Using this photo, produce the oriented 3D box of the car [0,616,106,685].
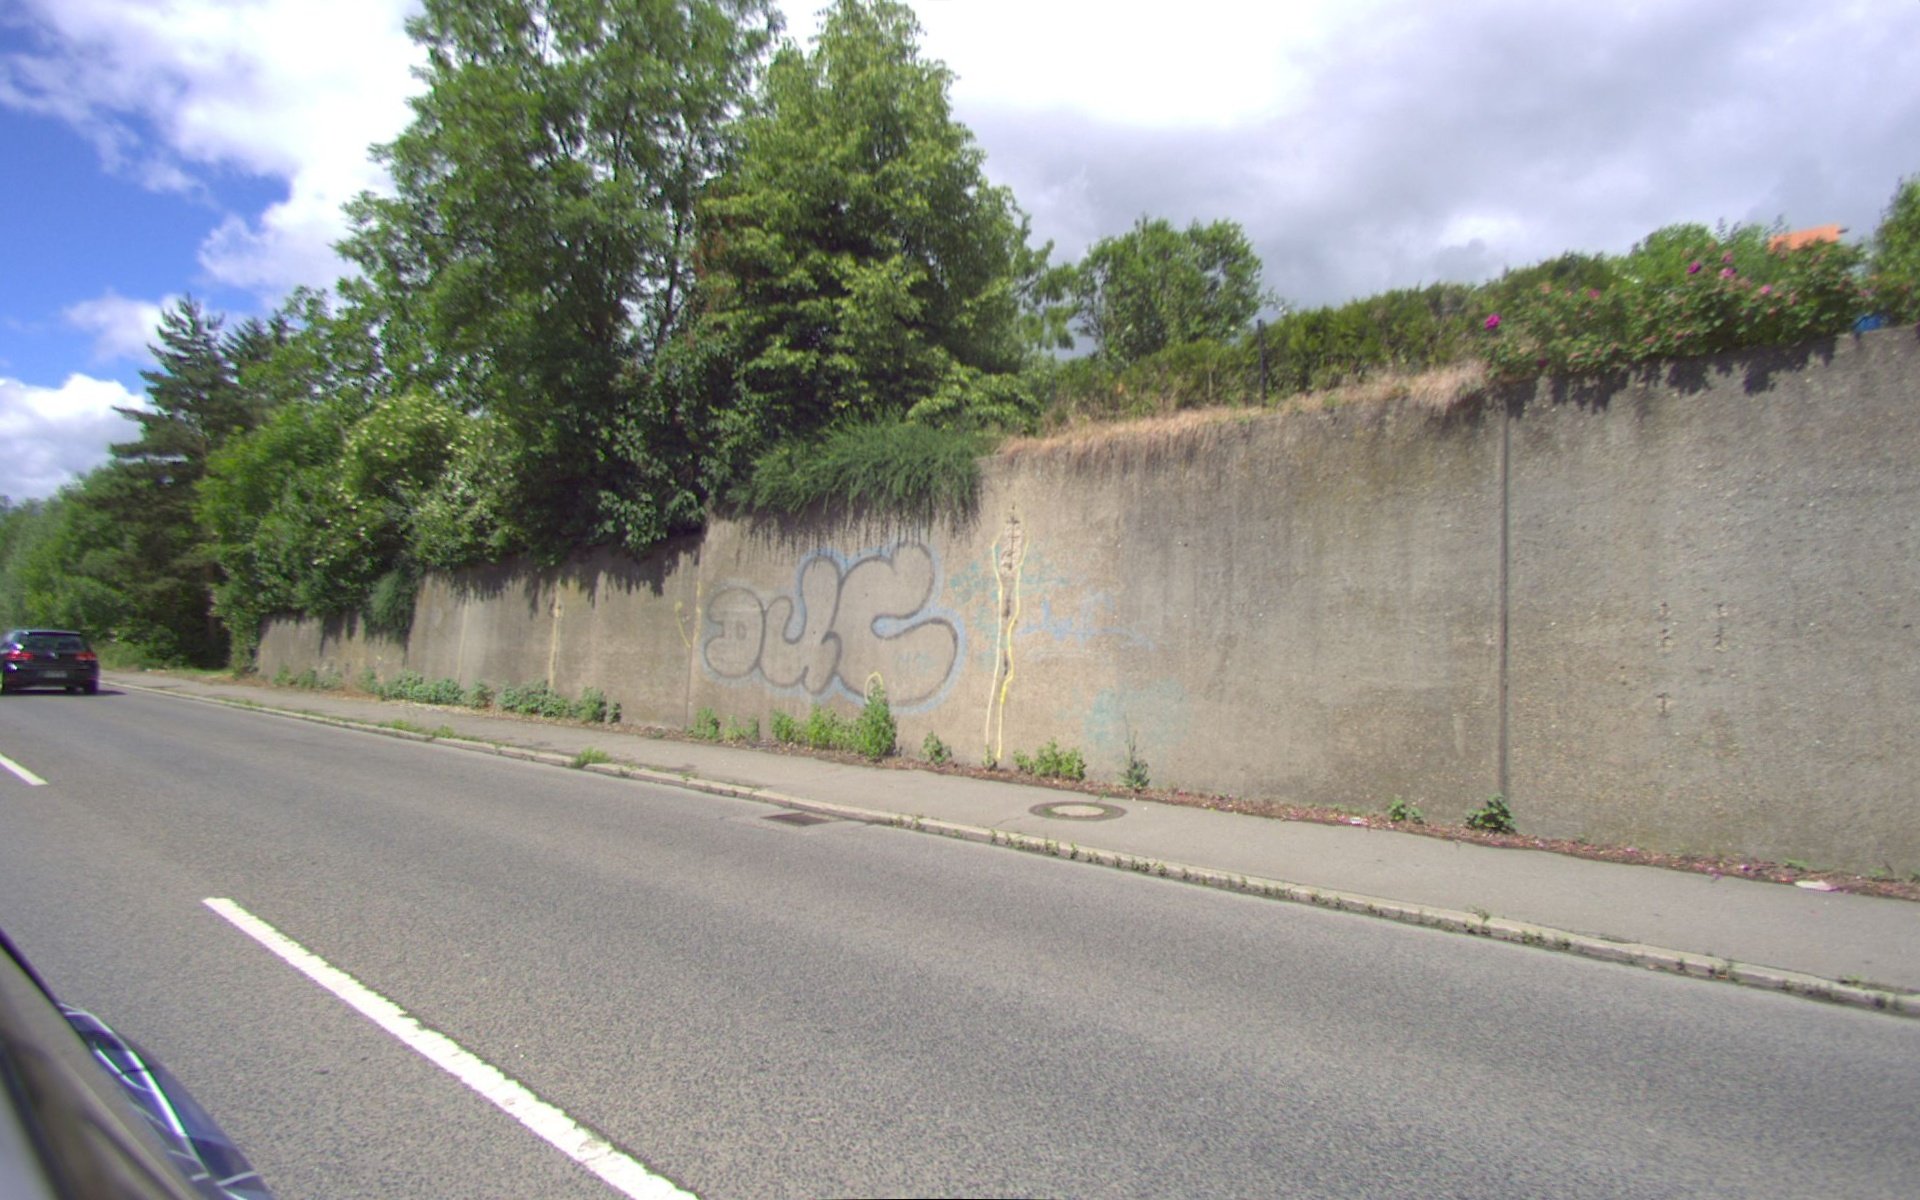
[{"bbox_3d":[-21.521,1.151,23.650,3.997,1.475,1.733,-2,-3,40],"label":"car"}]
